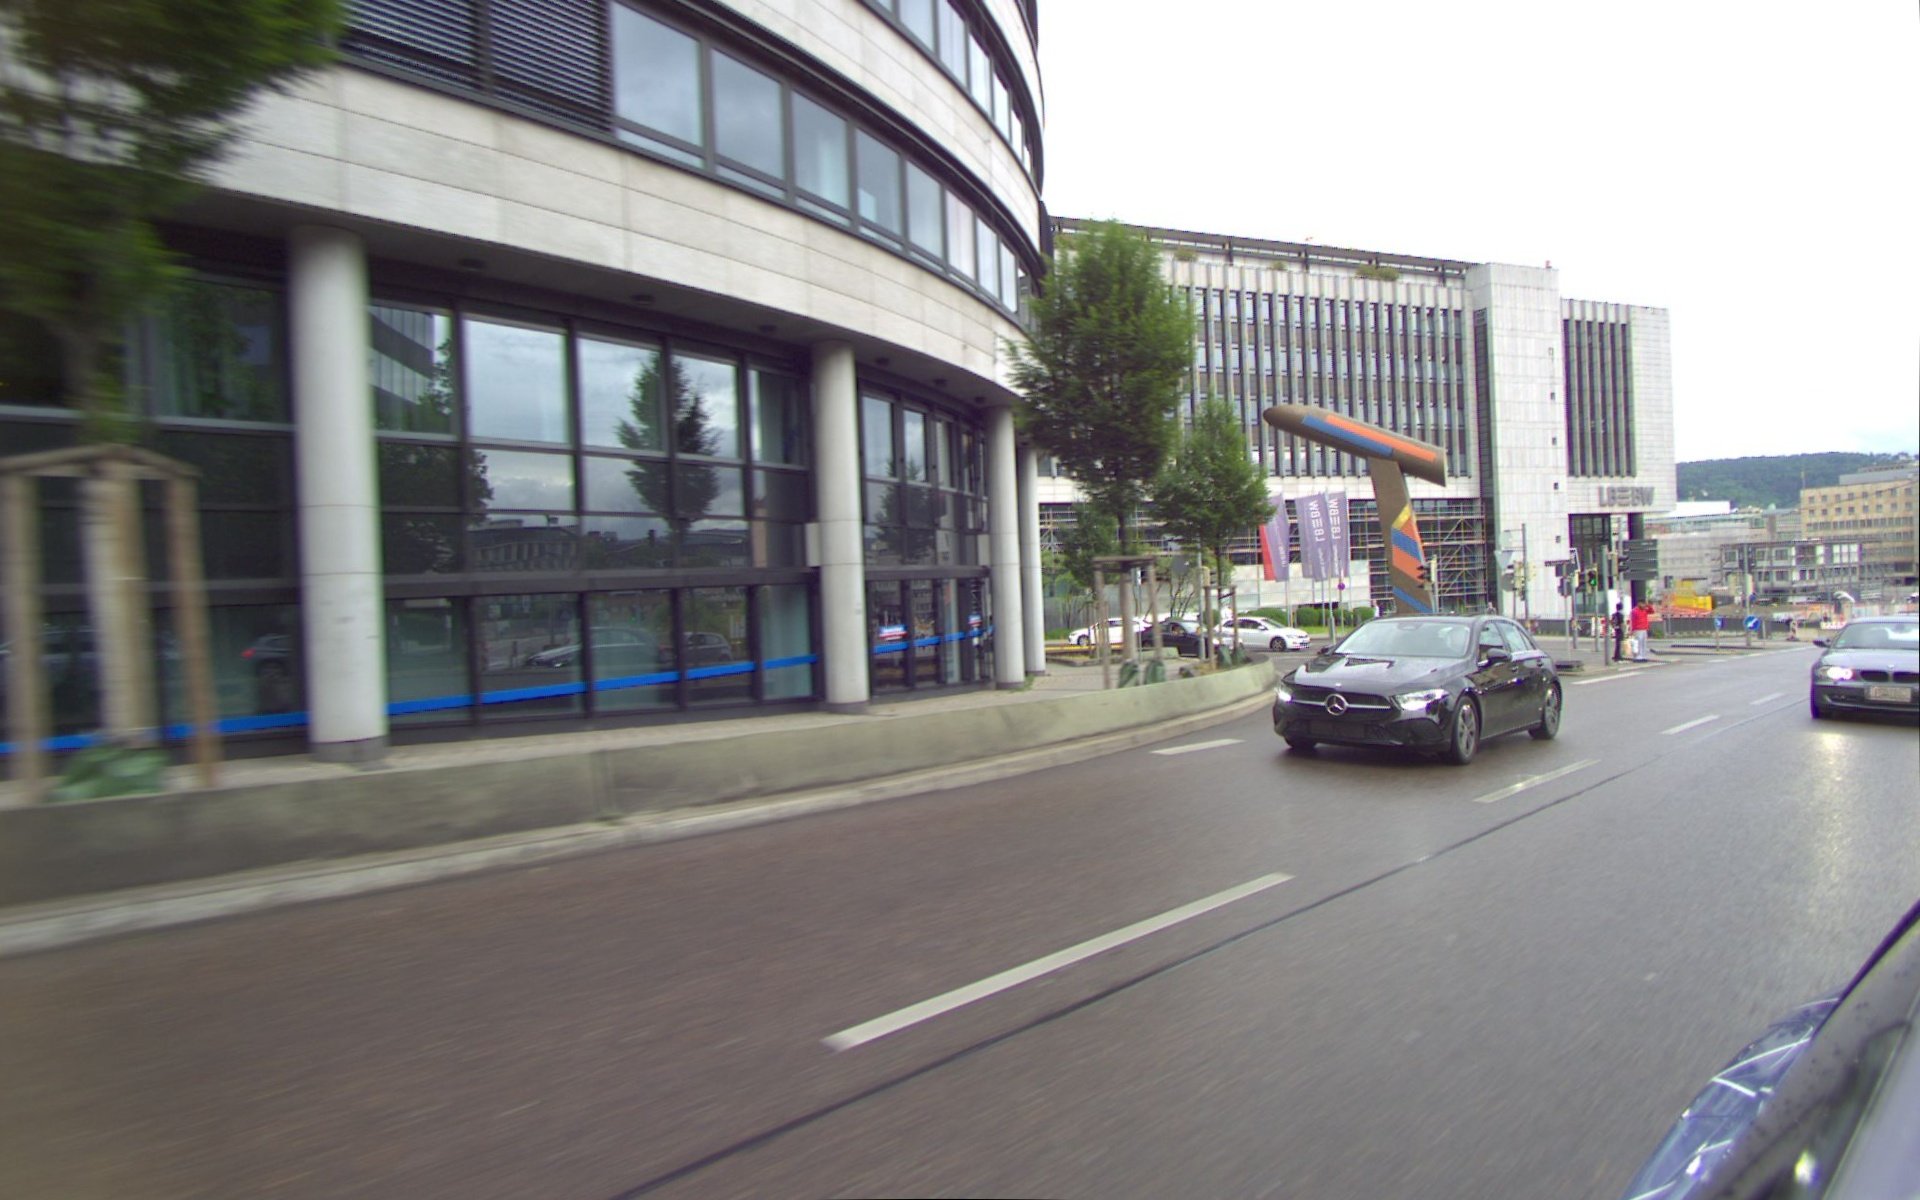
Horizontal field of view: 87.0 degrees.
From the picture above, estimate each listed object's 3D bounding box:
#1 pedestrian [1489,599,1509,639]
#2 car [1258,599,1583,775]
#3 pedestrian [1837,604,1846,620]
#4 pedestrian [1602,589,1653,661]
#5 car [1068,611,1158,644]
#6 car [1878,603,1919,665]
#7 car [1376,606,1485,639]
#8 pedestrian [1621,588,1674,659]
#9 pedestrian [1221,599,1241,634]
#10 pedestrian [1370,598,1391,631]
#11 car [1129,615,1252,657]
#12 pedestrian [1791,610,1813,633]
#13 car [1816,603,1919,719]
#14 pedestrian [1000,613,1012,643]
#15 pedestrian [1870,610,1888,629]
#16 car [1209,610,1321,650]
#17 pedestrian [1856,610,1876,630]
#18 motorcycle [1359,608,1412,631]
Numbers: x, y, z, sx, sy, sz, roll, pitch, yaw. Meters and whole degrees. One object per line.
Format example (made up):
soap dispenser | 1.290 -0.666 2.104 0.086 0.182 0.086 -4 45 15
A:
pedestrian | 29.518 1.043 55.436 0.846 2.126 0.896 -3 -3 24
car | 5.018 0.738 10.741 4.158 1.425 1.756 -1 2 -44
pedestrian | 98.783 1.378 113.358 0.485 1.770 0.569 -2 0 -24
pedestrian | 18.435 0.667 27.961 0.716 1.928 0.845 -2 0 -17
car | 8.089 1.420 53.414 4.515 1.655 1.768 0 -1 16
car | 25.937 0.875 26.633 4.141 1.568 1.968 1 -1 -38
car | 22.703 1.094 49.018 4.555 1.470 1.696 -1 -1 19
pedestrian | 19.350 0.640 28.513 0.843 1.928 0.845 -2 0 -17
pedestrian | 14.764 0.886 55.179 0.765 1.840 0.971 -2 0 -2
pedestrian | 22.260 0.766 53.588 0.829 1.732 0.730 -2 0 -43
car | 8.741 1.338 38.847 1.830 1.460 4.717 -2 0 -31
pedestrian | 61.554 1.556 74.013 1.038 1.673 0.733 -1 -1 -15
car | 13.404 0.781 14.160 3.933 1.461 1.741 0 -1 -43
pedestrian | 2.699 1.626 59.402 0.541 1.769 0.563 1 -2 -16
pedestrian | 77.629 1.671 85.464 0.788 1.595 0.735 -2 -1 -15
car | 12.593 1.237 41.912 1.837 1.460 3.989 -4 1 -44
pedestrian | 77.144 1.678 86.187 0.932 1.613 0.865 -2 0 -15
motorcycle | 23.126 1.032 55.097 2.561 1.094 0.625 4 1 41
